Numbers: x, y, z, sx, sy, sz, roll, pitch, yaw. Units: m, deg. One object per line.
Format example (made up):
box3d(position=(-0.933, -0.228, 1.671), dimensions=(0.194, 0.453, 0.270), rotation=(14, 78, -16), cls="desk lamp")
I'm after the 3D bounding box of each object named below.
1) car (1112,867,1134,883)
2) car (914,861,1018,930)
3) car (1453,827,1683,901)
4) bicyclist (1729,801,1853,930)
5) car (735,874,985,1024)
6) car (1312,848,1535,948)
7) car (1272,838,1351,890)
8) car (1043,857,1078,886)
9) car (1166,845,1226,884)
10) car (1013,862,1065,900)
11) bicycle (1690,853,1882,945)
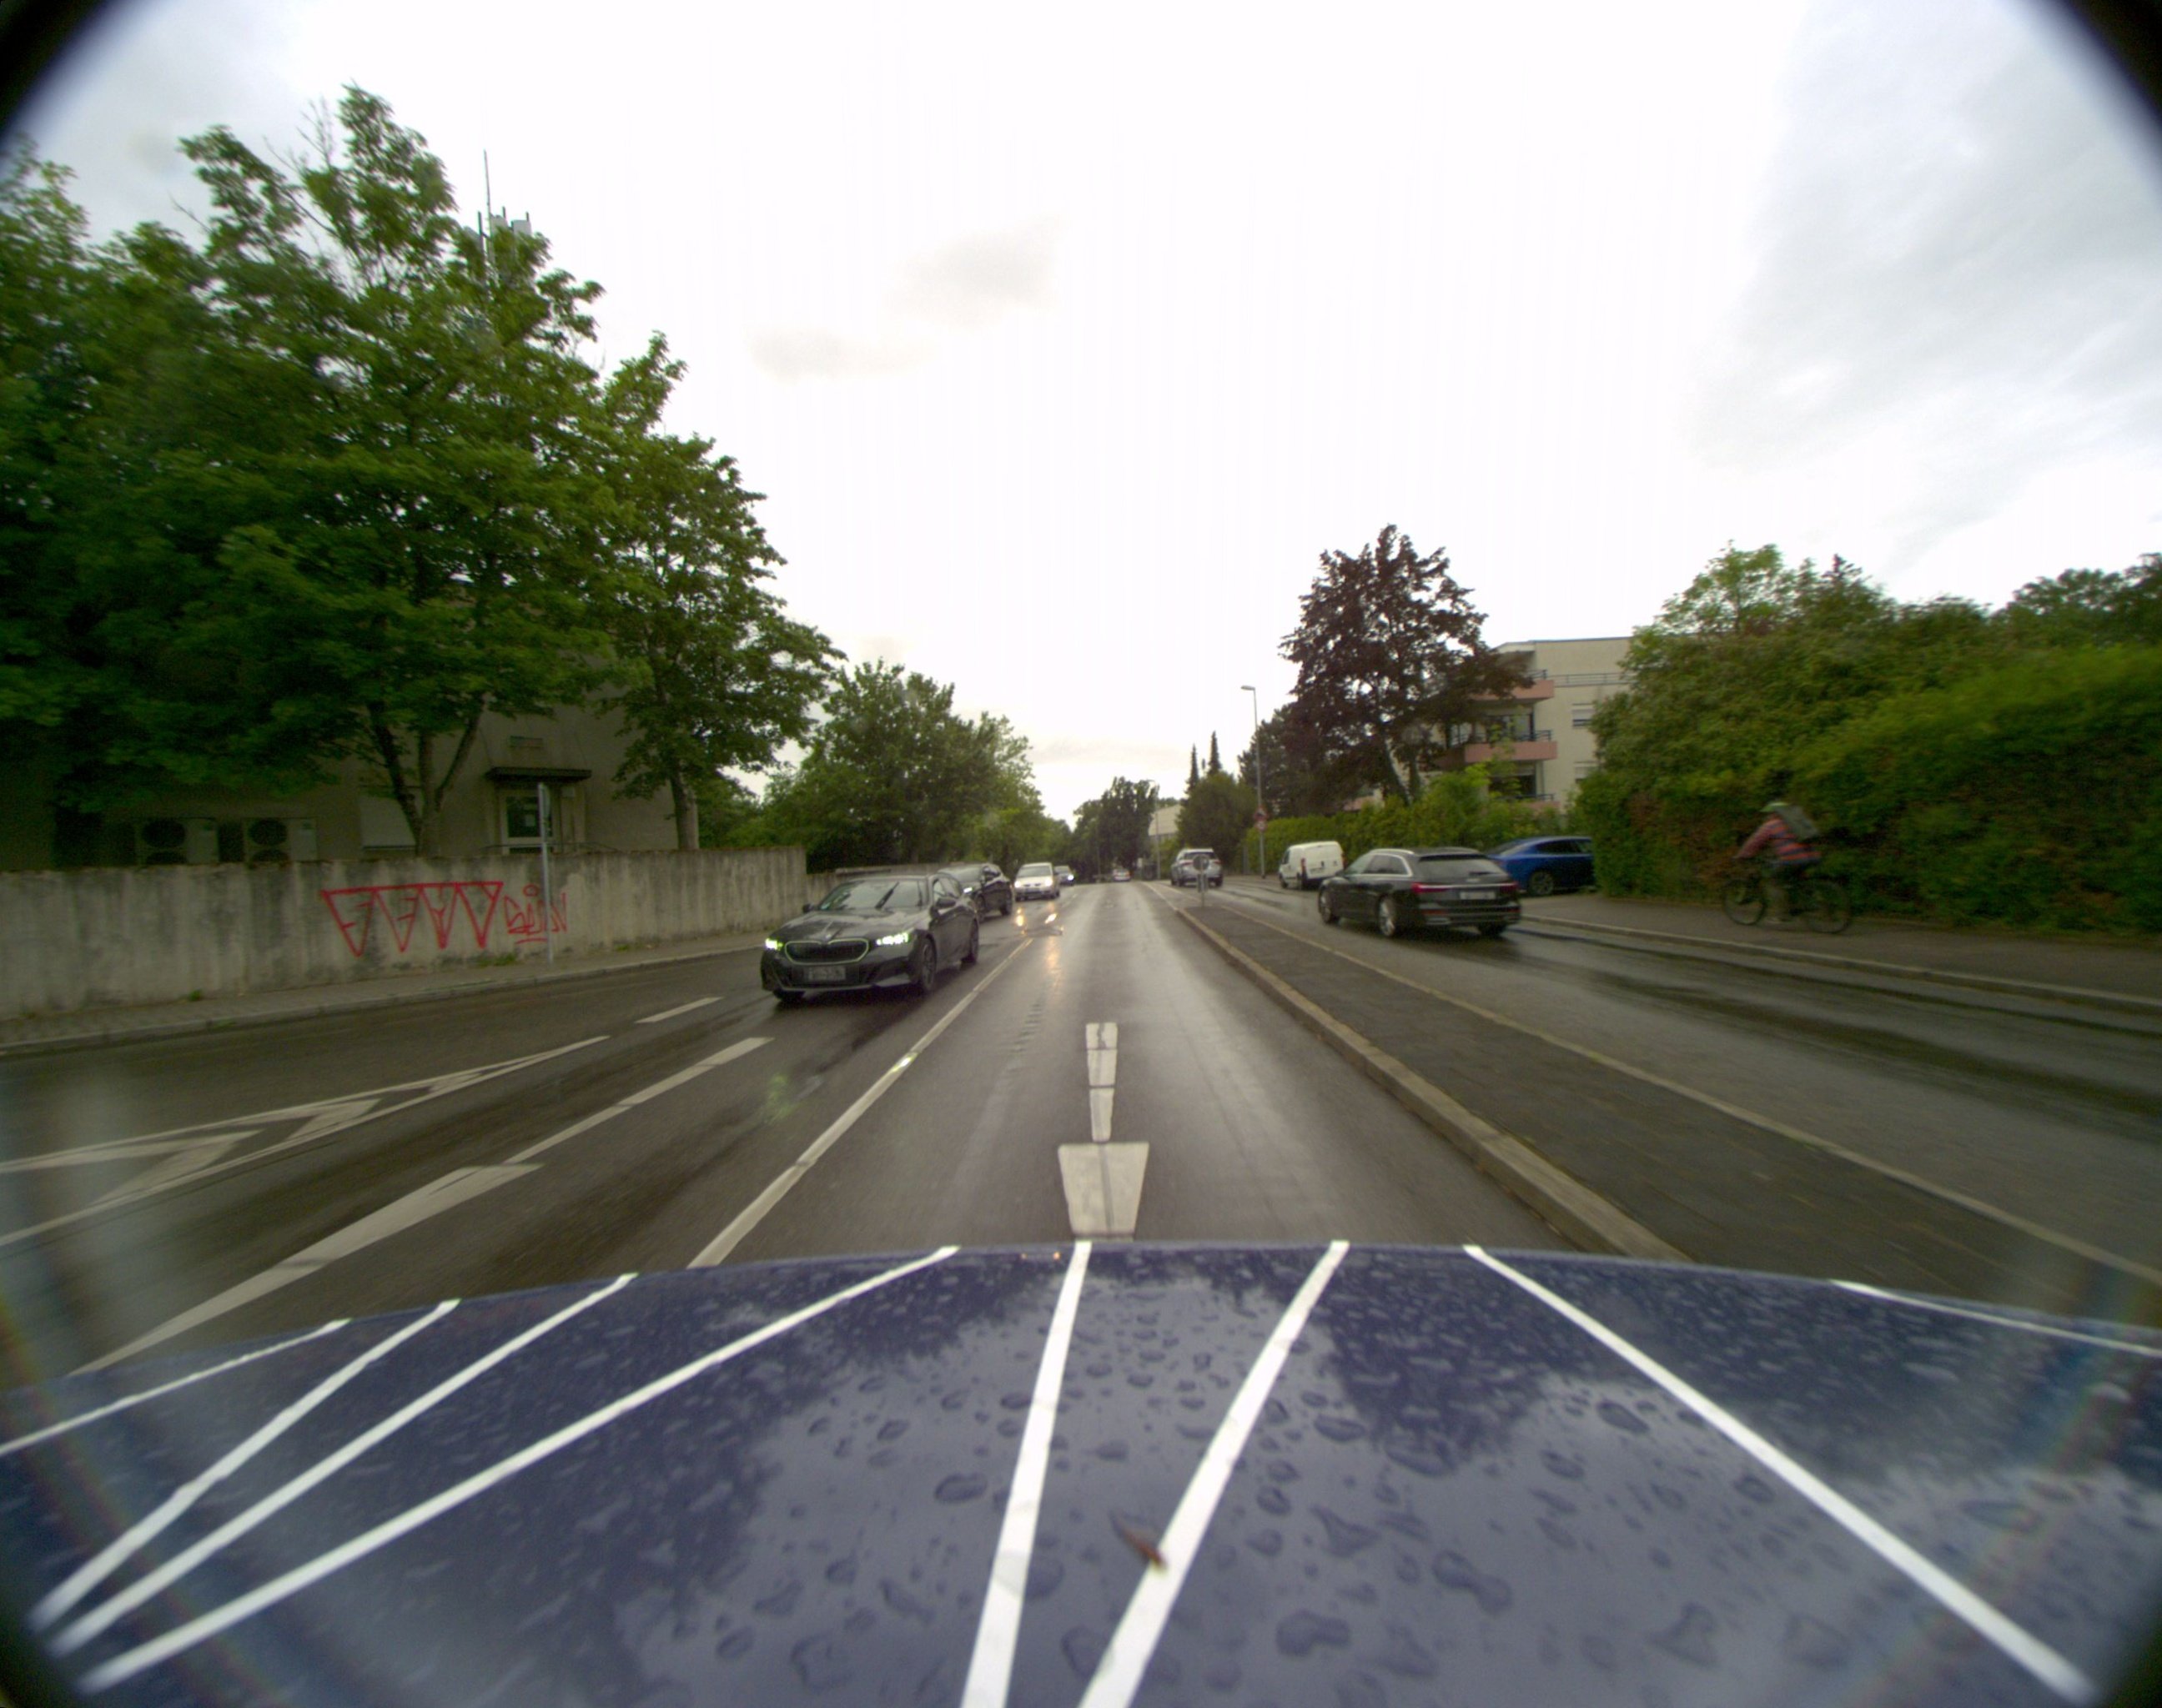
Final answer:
box3d(position=(4.433, 2.216, 80.345), dimensions=(1.640, 1.570, 4.055), rotation=(0, 0, -7), cls="car")
box3d(position=(-3.123, 1.086, 21.589), dimensions=(1.794, 1.594, 4.255), rotation=(-4, 0, 6), cls="car")
box3d(position=(11.869, 0.258, 18.705), dimensions=(4.495, 1.354, 1.805), rotation=(-5, -1, -4), cls="car")
box3d(position=(9.485, 0.146, 10.189), dimensions=(0.766, 1.602, 0.868), rotation=(-4, 1, 1), cls="bicyclist")
box3d(position=(-2.718, 1.103, 10.682), dimensions=(1.910, 1.450, 4.779), rotation=(-3, 0, 2), cls="car")
box3d(position=(5.700, 0.628, 13.375), dimensions=(1.742, 1.429, 4.555), rotation=(-1, 0, -2), cls="car")
box3d(position=(8.819, 0.392, 29.450), dimensions=(1.705, 1.697, 3.979), rotation=(-6, 0, 0), cls="car")
box3d(position=(-1.381, 1.262, 53.038), dimensions=(2.035, 1.690, 4.003), rotation=(-6, -4, 1), cls="car")
box3d(position=(5.432, 0.511, 36.376), dimensions=(2.046, 1.706, 4.481), rotation=(-2, 0, -2), cls="car")
box3d(position=(-1.758, 1.133, 32.849), dimensions=(1.639, 1.496, 4.002), rotation=(-2, -1, 5), cls="car")
box3d(position=(9.555, 0.563, 10.434), dimensions=(0.749, 1.080, 1.989), rotation=(-4, 1, 1), cls="bicycle")
